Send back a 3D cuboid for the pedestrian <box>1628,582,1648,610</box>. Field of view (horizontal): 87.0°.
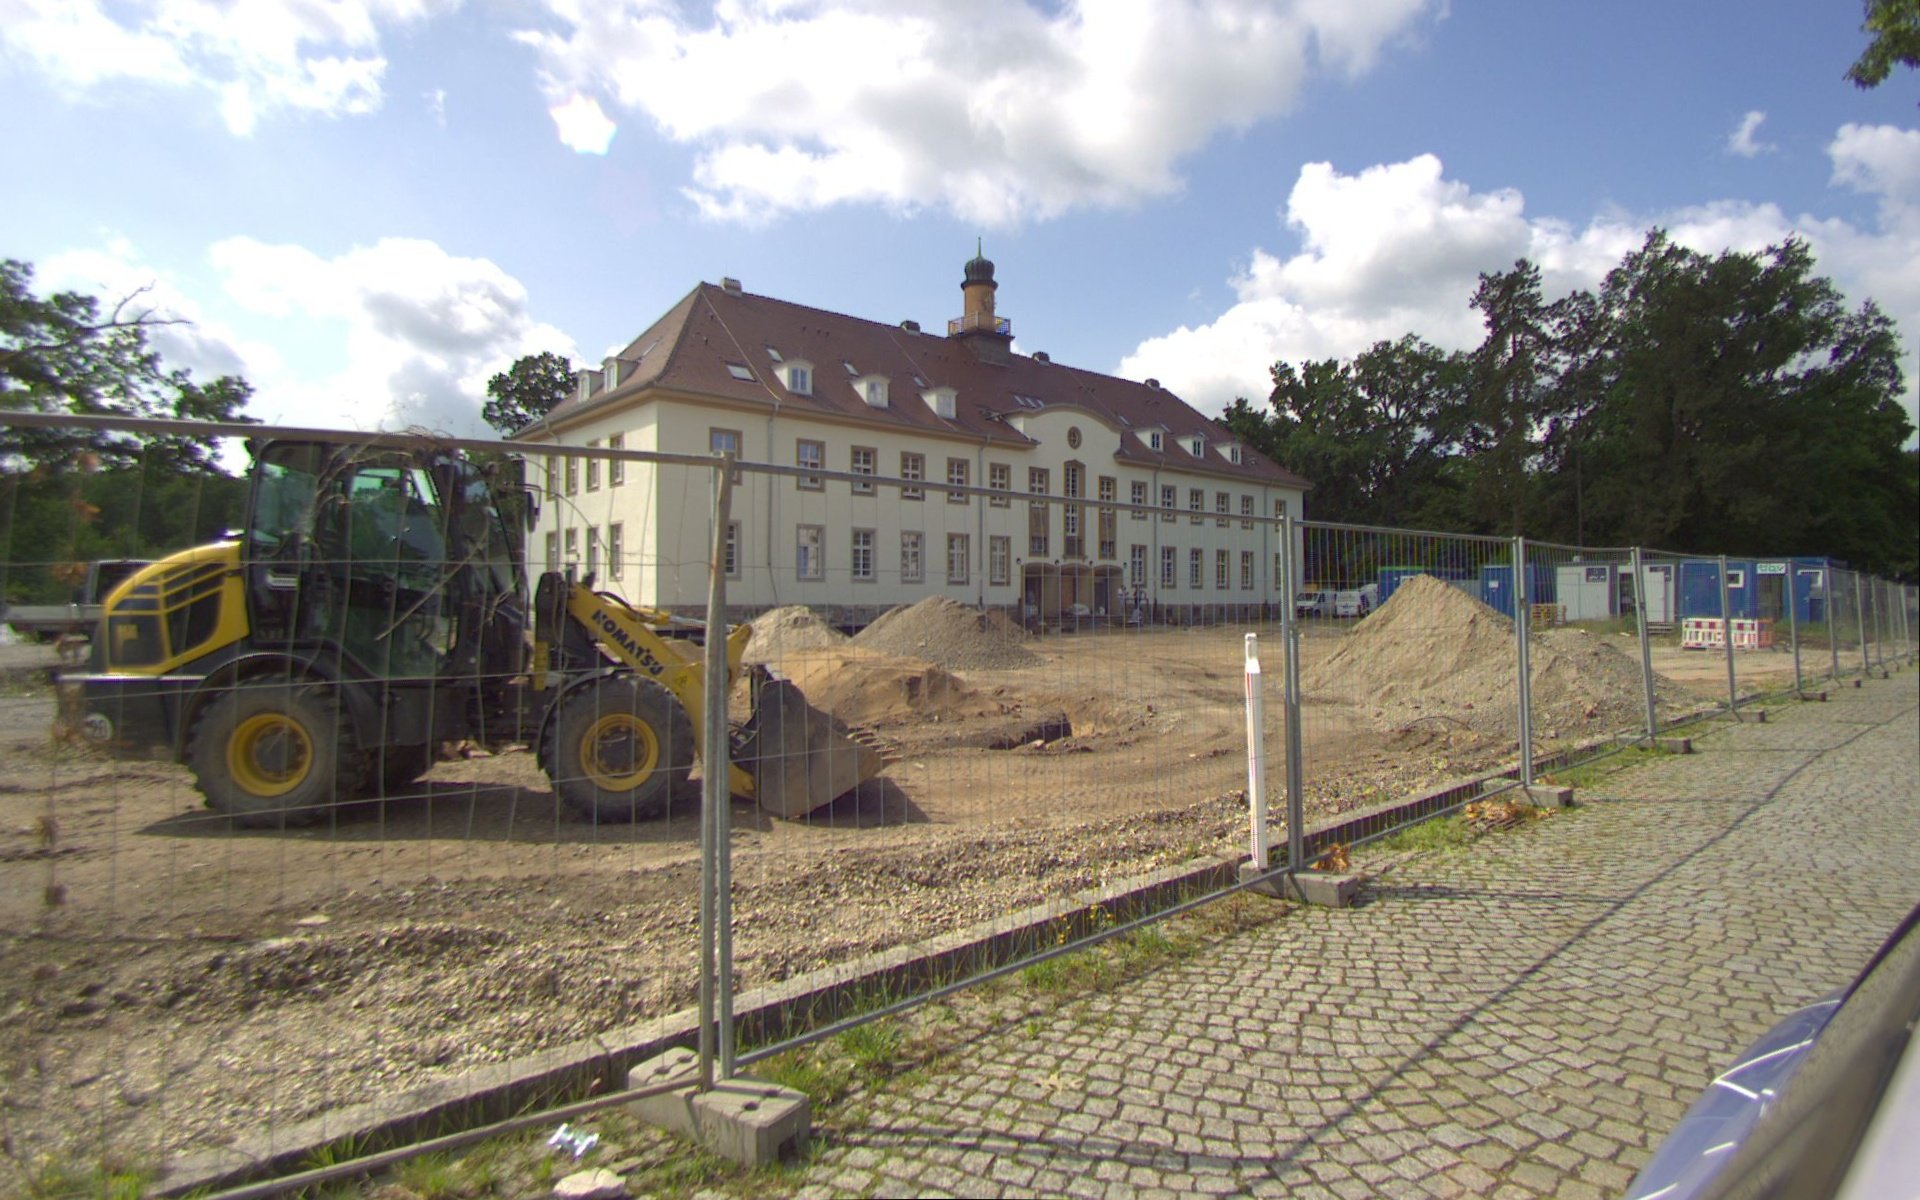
[{"bbox_3d":[30.111,-0.172,44.947,0.671,1.259,0.602,0,-1,-43],"label":"pedestrian"}]

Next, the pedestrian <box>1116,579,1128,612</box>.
[{"bbox_3d":[9.088,-0.260,56.782,0.496,1.810,0.492,0,-1,-19],"label":"pedestrian"}]

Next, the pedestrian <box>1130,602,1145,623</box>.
[{"bbox_3d":[9.757,0.684,55.624,0.697,1.128,0.490,0,-1,-43],"label":"pedestrian"}]

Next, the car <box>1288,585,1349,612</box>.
[{"bbox_3d":[24.245,-0.138,68.360,4.625,1.750,1.883,0,1,-40],"label":"car"}]

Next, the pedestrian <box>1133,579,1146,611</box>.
[{"bbox_3d":[10.222,-0.268,57.659,0.498,1.810,0.490,1,-1,-44],"label":"pedestrian"}]

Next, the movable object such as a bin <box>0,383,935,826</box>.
[{"bbox_3d":[-3.139,0.063,7.466,5.537,2.553,2.154,1,0,-13],"label":"movable object such as a bin"}]

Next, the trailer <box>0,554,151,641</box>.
[{"bbox_3d":[-27.625,-0.108,31.816,1.920,2.503,4.855,0,1,-19],"label":"trailer"}]

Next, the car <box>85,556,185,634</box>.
[{"bbox_3d":[-29.776,-0.214,36.709,2.203,2.623,5.441,0,1,-33],"label":"car"}]

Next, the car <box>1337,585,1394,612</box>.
[{"bbox_3d":[26.526,-0.109,66.144,3.968,1.704,1.801,0,1,-40],"label":"car"}]
